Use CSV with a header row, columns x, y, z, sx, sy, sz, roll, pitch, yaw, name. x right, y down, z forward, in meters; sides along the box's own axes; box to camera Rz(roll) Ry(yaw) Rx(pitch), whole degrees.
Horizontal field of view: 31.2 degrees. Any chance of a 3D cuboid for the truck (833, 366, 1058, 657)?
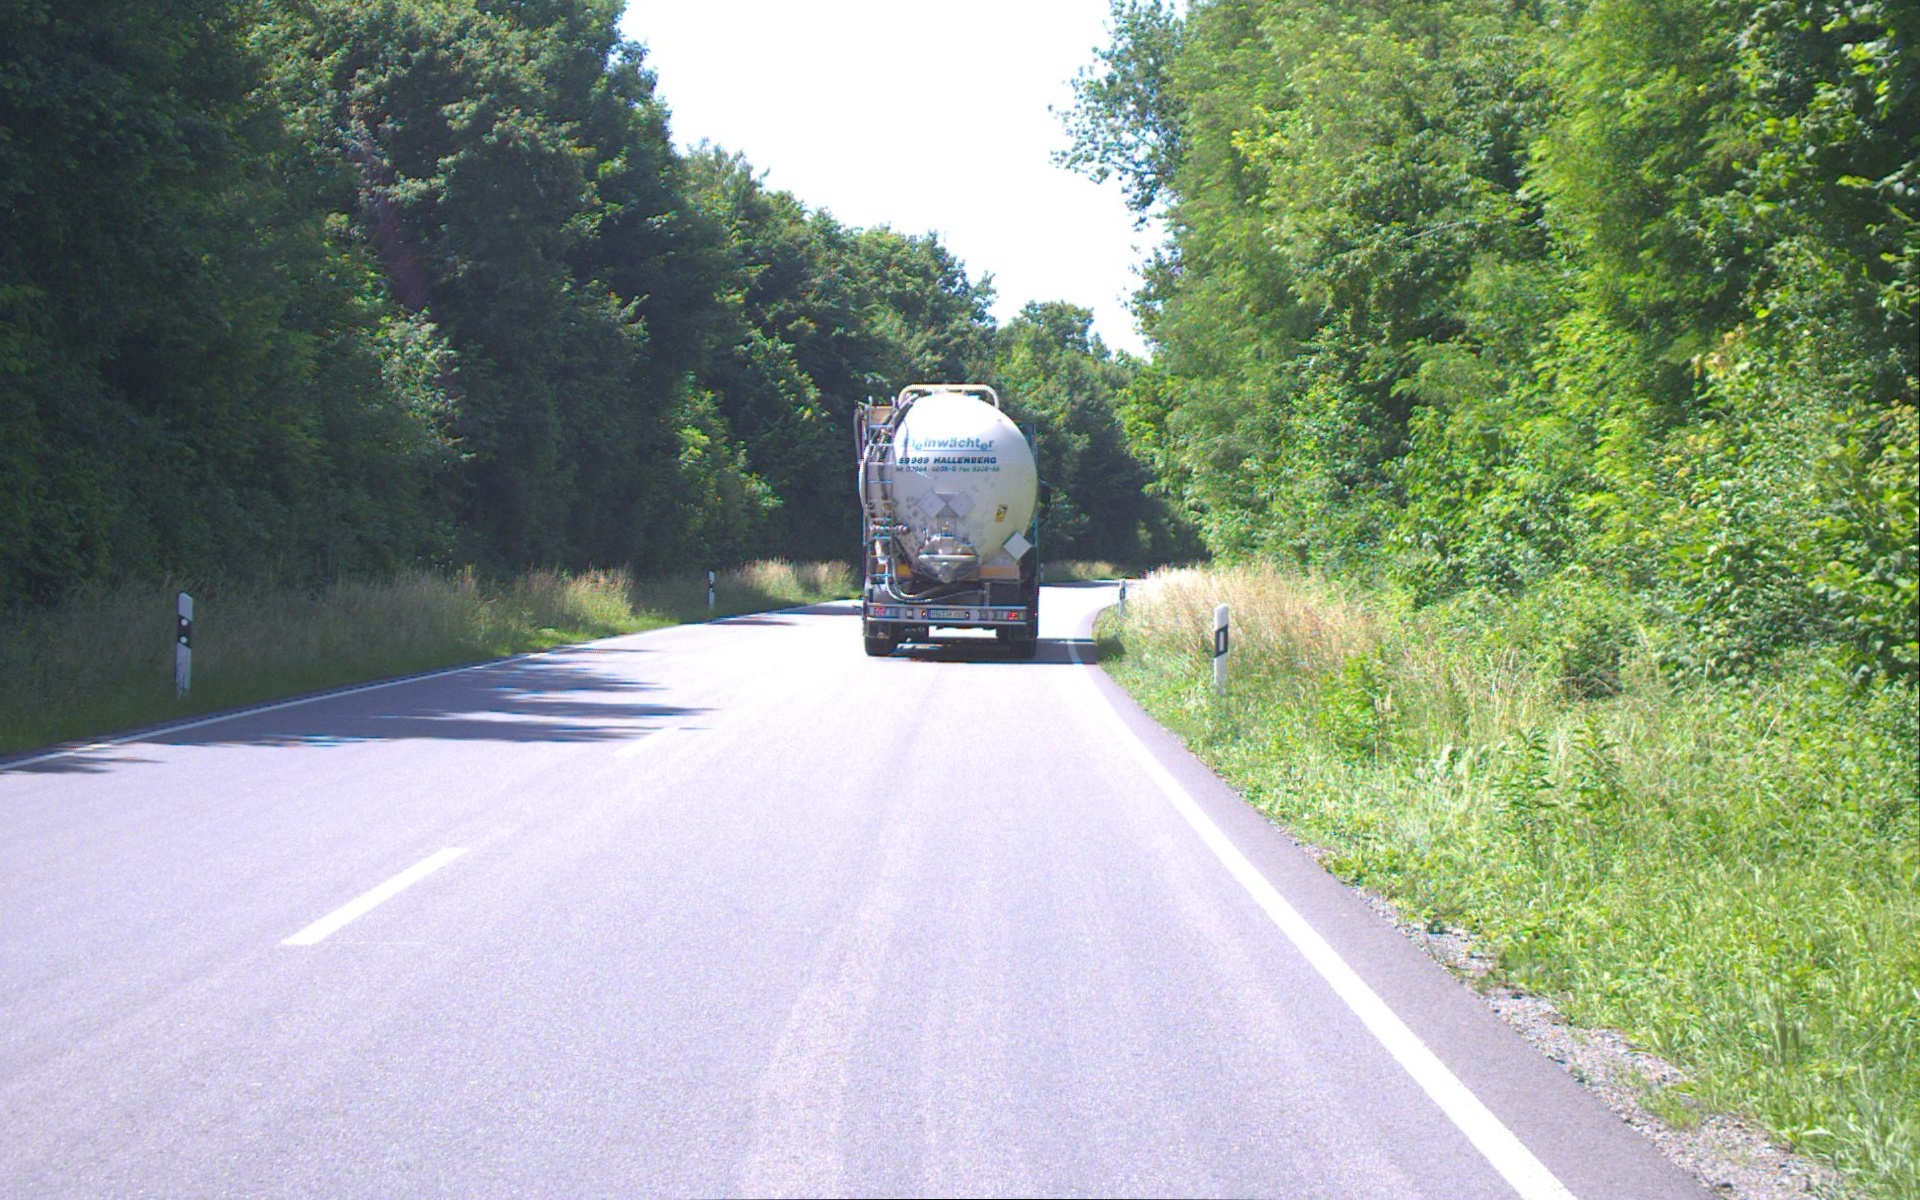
x,y,z,sx,sy,sz,roll,pitch,yaw,name
-0.239,-1.353,55.473,3.049,3.984,15.637,1,1,0,truck
